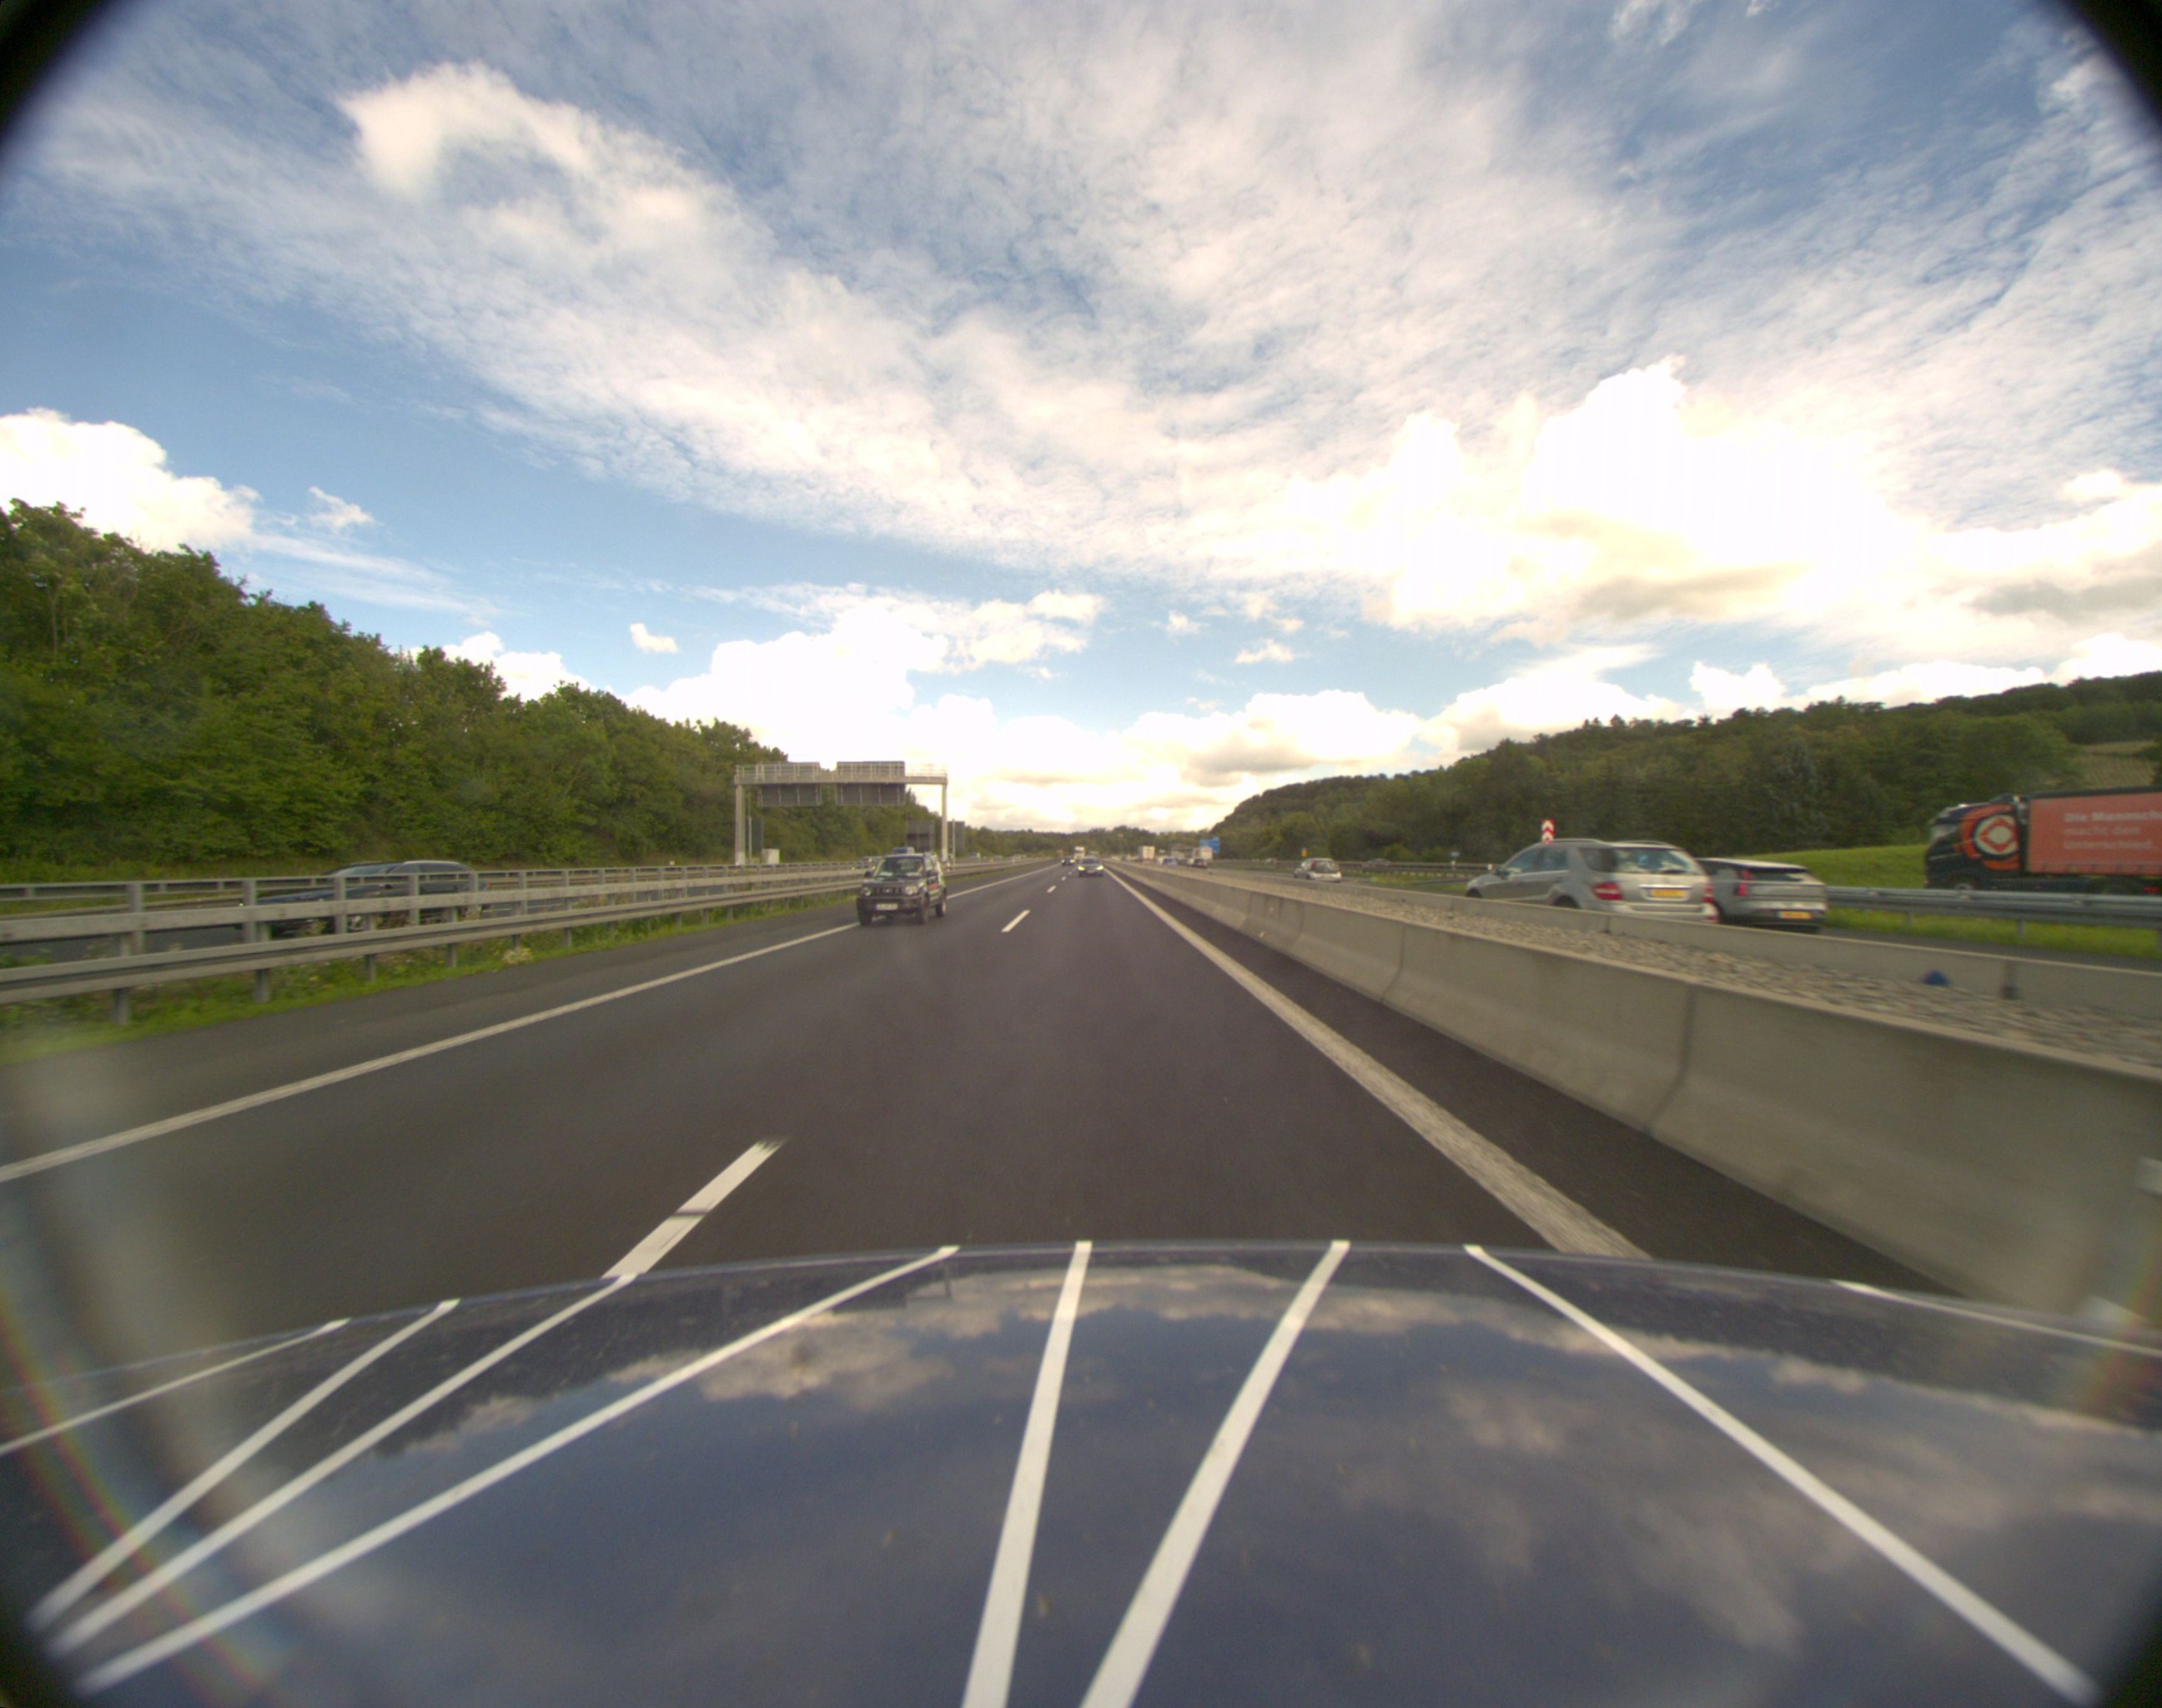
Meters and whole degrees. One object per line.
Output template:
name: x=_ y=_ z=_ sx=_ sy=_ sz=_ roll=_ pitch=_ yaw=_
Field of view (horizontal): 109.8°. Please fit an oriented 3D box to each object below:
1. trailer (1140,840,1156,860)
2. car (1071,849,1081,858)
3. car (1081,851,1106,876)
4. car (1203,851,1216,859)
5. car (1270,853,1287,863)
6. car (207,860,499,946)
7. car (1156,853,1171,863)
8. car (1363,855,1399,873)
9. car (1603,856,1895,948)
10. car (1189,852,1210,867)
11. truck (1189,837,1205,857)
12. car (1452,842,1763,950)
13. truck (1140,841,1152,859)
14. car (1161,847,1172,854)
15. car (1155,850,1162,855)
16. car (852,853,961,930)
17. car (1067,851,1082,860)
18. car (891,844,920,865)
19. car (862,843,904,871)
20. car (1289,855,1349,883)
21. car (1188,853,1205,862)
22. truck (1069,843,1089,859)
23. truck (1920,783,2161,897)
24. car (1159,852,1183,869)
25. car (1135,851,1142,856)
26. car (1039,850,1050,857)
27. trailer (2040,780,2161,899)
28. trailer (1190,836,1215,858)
trailer: x=14.925 y=-0.919 z=170.372 sx=2.494 sy=4.105 sz=13.282 roll=1 pitch=1 yaw=1
car: x=-1.050 y=-0.129 z=161.167 sx=1.998 sy=2.002 sz=4.000 roll=1 pitch=1 yaw=1
car: x=0.937 y=0.641 z=55.220 sx=1.724 sy=1.722 sz=3.939 roll=0 pitch=1 yaw=2
car: x=26.245 y=0.160 z=155.635 sx=1.998 sy=1.608 sz=4.708 roll=1 pitch=1 yaw=1
car: x=33.620 y=0.720 z=129.426 sx=1.806 sy=1.608 sz=3.481 roll=1 pitch=1 yaw=-3
car: x=-14.979 y=0.916 z=16.069 sx=1.999 sy=1.476 sz=4.310 roll=-1 pitch=1 yaw=0
car: x=13.910 y=0.640 z=128.803 sx=1.998 sy=1.608 sz=5.002 roll=1 pitch=1 yaw=1
car: x=28.940 y=0.963 z=73.488 sx=1.805 sy=1.608 sz=4.301 roll=1 pitch=1 yaw=1
car: x=13.195 y=0.849 z=15.512 sx=1.998 sy=1.523 sz=4.507 roll=1 pitch=1 yaw=0
car: x=13.598 y=0.621 z=87.691 sx=1.805 sy=1.608 sz=4.301 roll=1 pitch=1 yaw=1
truck: x=29.266 y=-1.752 z=192.165 sx=3.033 sy=5.112 sz=6.628 roll=1 pitch=1 yaw=-1
car: x=8.748 y=0.576 z=13.371 sx=1.998 sy=1.523 sz=5.021 roll=1 pitch=1 yaw=0
truck: x=15.034 y=-0.982 z=176.124 sx=2.494 sy=4.105 sz=5.298 roll=1 pitch=1 yaw=1
car: x=18.388 y=-0.788 z=163.692 sx=1.998 sy=1.608 sz=5.002 roll=1 pitch=1 yaw=1
car: x=25.551 y=-0.661 z=251.089 sx=1.998 sy=1.608 sz=4.709 roll=1 pitch=1 yaw=4
car: x=-4.345 y=0.868 z=19.586 sx=1.670 sy=1.722 sz=4.207 roll=0 pitch=1 yaw=2
car: x=-1.128 y=0.247 z=126.849 sx=1.997 sy=1.591 sz=4.002 roll=1 pitch=0 yaw=7
car: x=-19.320 y=0.041 z=83.939 sx=1.999 sy=2.173 sz=5.127 roll=-1 pitch=1 yaw=0
car: x=-14.616 y=0.220 z=56.236 sx=1.998 sy=2.002 sz=4.000 roll=1 pitch=1 yaw=1
car: x=13.089 y=0.786 z=42.035 sx=1.998 sy=1.447 sz=4.180 roll=1 pitch=1 yaw=1
car: x=18.740 y=0.591 z=123.719 sx=1.999 sy=1.443 sz=5.001 roll=1 pitch=1 yaw=-1
truck: x=-0.526 y=-0.938 z=222.750 sx=4.947 sy=4.306 sz=14.631 roll=1 pitch=1 yaw=3
truck: x=34.511 y=-0.483 z=27.641 sx=1.999 sy=3.740 sz=5.147 roll=1 pitch=1 yaw=-4
car: x=9.569 y=0.663 z=81.254 sx=1.932 sy=1.608 sz=5.418 roll=1 pitch=1 yaw=1
car: x=18.860 y=-0.262 z=249.437 sx=1.947 sy=1.486 sz=5.306 roll=1 pitch=1 yaw=1
car: x=-8.366 y=-0.045 z=174.476 sx=1.998 sy=1.608 sz=5.002 roll=1 pitch=1 yaw=2
trailer: x=34.976 y=-0.417 z=20.035 sx=1.999 sy=3.715 sz=13.239 roll=1 pitch=1 yaw=-3
trailer: x=29.518 y=-1.683 z=185.413 sx=3.117 sy=5.130 sz=14.714 roll=1 pitch=1 yaw=-2
